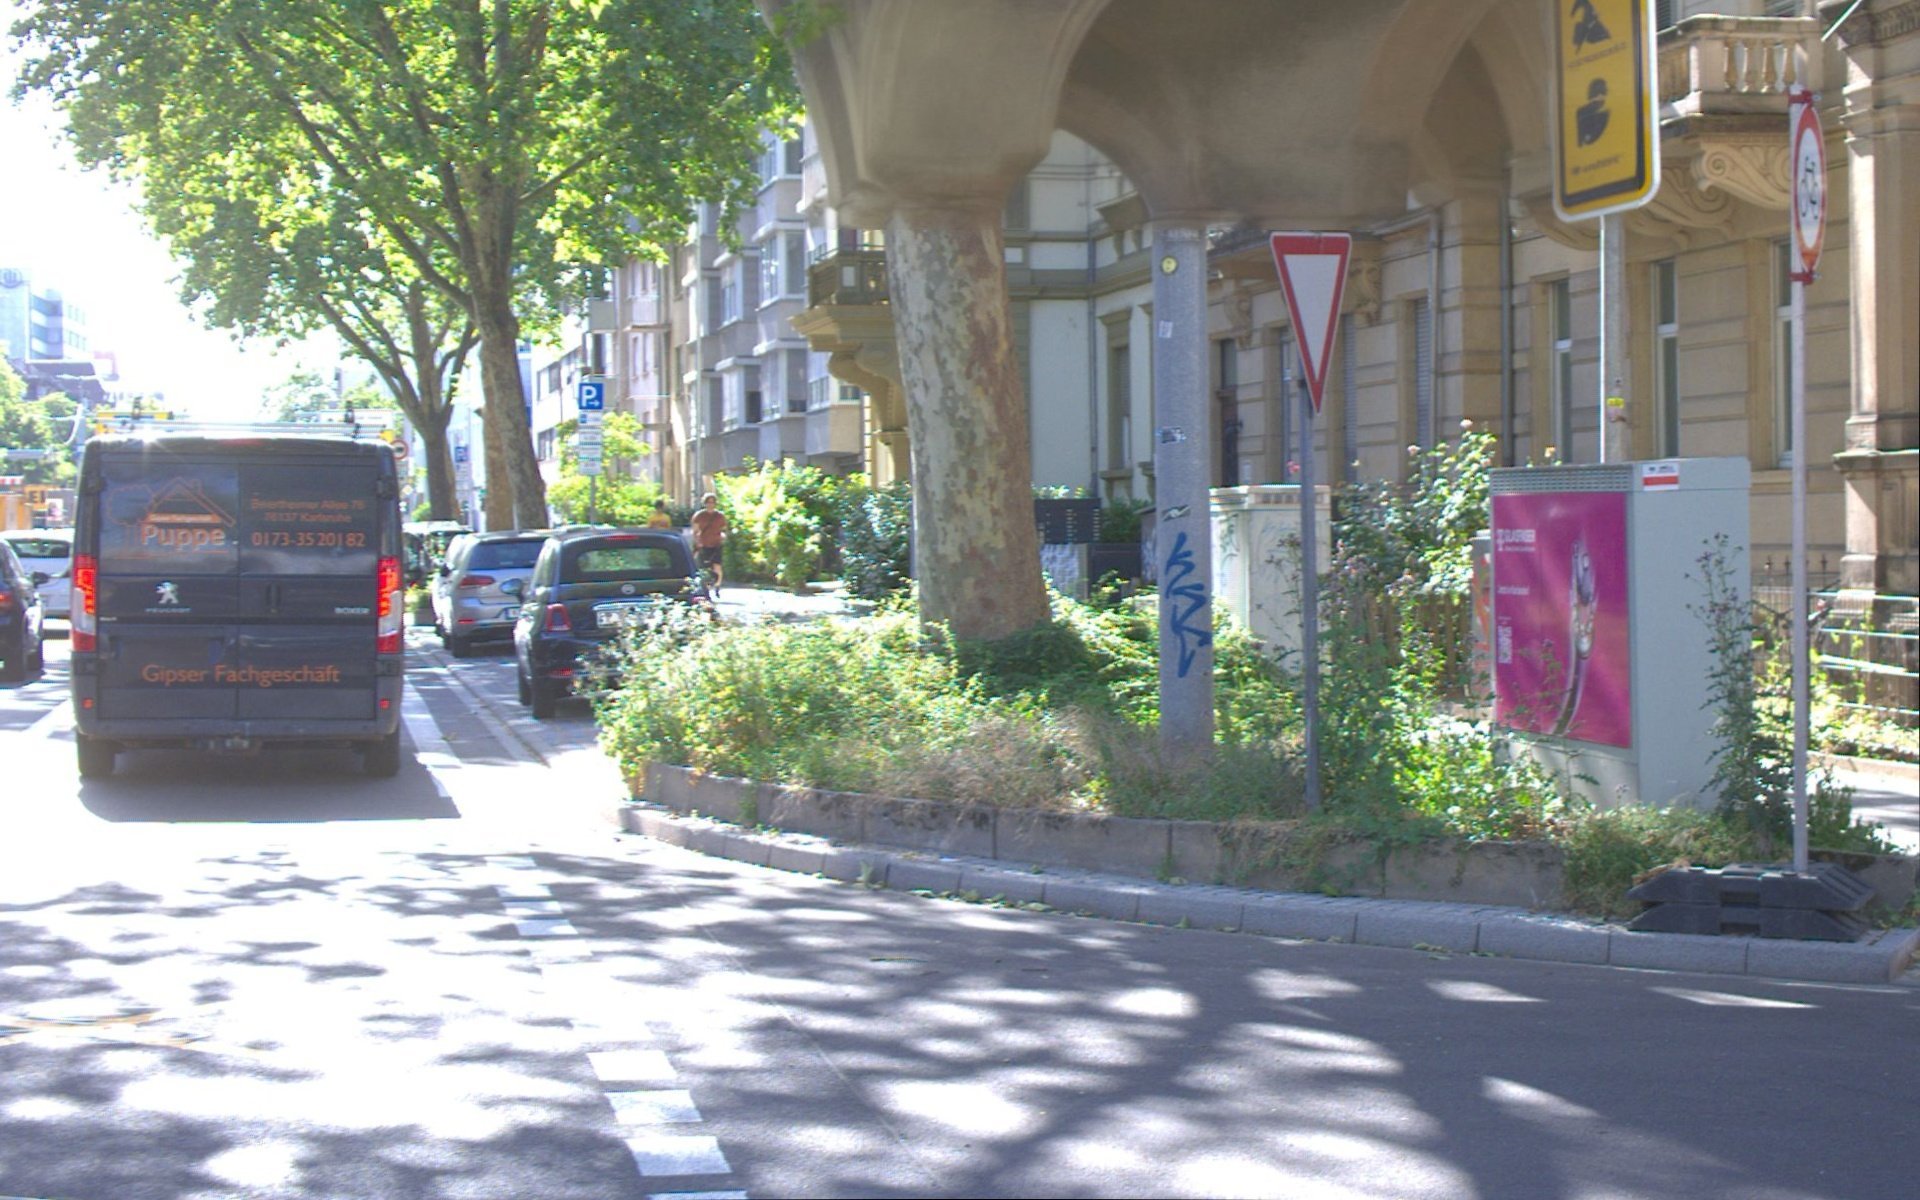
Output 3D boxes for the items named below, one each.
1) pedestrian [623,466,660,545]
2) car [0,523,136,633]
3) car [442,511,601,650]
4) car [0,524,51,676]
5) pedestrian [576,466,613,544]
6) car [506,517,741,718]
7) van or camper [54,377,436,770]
[{"bbox_3d":[-9.611,-2.850,103.816,1.057,2.338,0.816,1,0,-8],"label":"pedestrian"},{"bbox_3d":[-12.566,-0.338,48.532,1.619,1.481,3.735,0,1,-11],"label":"car"},{"bbox_3d":[-5.329,-0.266,41.469,1.772,1.563,4.001,-1,1,-9],"label":"car"},{"bbox_3d":[-10.271,-0.044,35.145,1.619,1.481,3.735,0,1,-11],"label":"car"},{"bbox_3d":[-11.067,-2.874,104.001,1.057,2.338,0.816,1,0,-8],"label":"pedestrian"},{"bbox_3d":[-2.913,0.097,29.156,1.772,1.563,4.001,-1,1,-8],"label":"car"},{"bbox_3d":[-4.760,-0.203,22.913,2.245,2.338,4.539,0,1,-12],"label":"van or camper"}]
